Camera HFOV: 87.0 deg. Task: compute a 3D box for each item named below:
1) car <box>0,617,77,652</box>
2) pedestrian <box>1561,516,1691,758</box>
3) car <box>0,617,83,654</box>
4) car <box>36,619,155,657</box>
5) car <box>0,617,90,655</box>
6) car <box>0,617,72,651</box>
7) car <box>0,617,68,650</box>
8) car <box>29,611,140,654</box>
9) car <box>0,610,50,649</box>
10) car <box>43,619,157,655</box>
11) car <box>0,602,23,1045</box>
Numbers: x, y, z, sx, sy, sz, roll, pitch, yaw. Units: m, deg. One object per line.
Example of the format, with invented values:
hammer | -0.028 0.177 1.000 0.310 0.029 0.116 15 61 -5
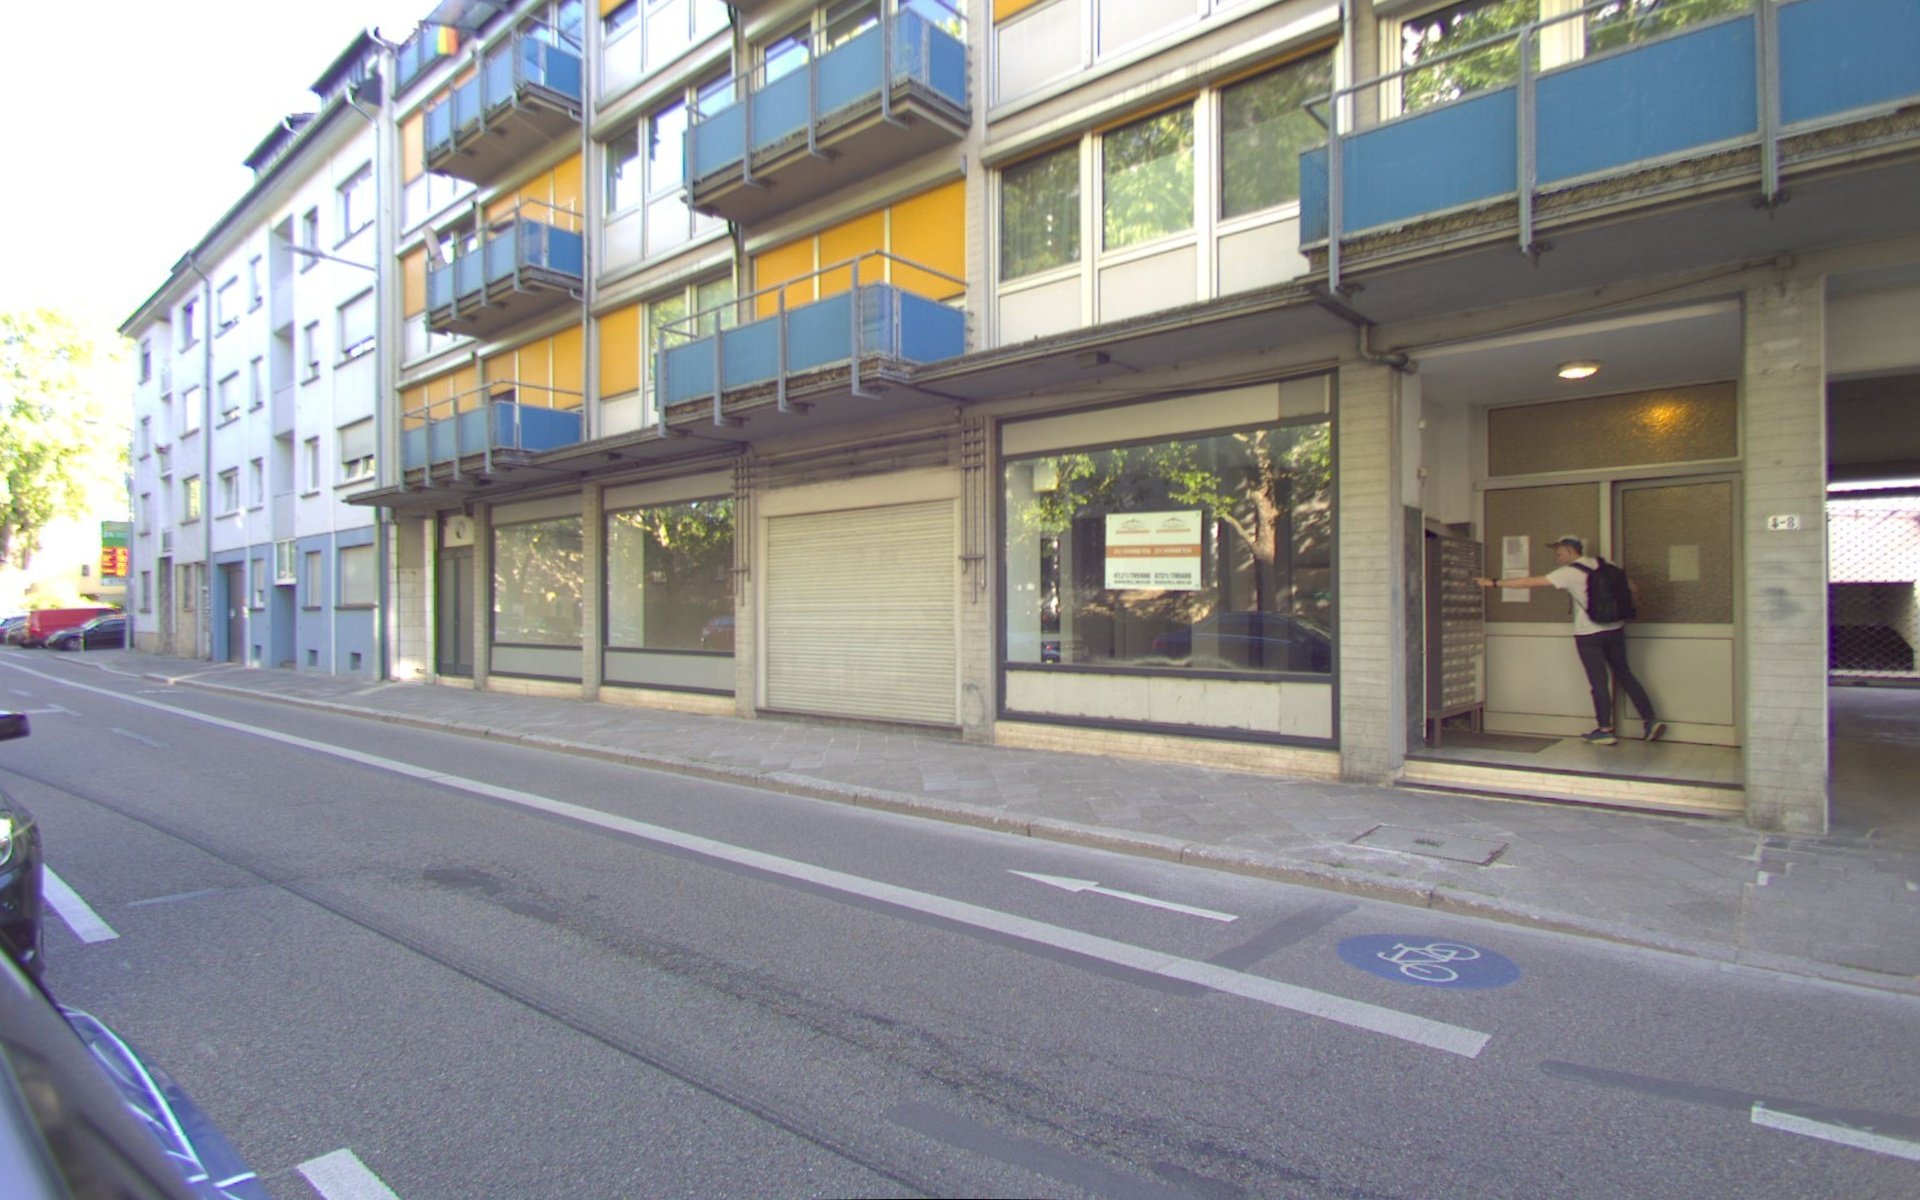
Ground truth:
car | -55.609 2.056 60.572 2.000 1.962 3.944 -1 0 42
pedestrian | 5.508 0.290 8.378 0.573 1.894 0.787 -1 0 -45
car | -53.528 2.029 58.619 2.000 1.962 3.944 -1 0 42
car | -39.764 1.718 46.612 2.000 1.564 3.944 -1 0 42
car | -51.578 2.004 56.836 2.000 1.962 3.944 -1 0 42
car | -57.415 2.079 62.289 2.000 1.962 3.944 -1 0 42
car | -59.215 2.102 64.023 2.000 1.962 3.944 -1 0 42
car | -43.438 1.566 50.258 2.000 1.962 3.944 -1 0 42
car | -62.807 1.949 66.792 2.000 2.538 3.944 -1 0 42
car | -41.183 1.736 48.533 2.000 1.564 3.944 -1 0 42
car | -5.530 0.805 4.286 4.479 1.512 1.842 -1 -1 41
